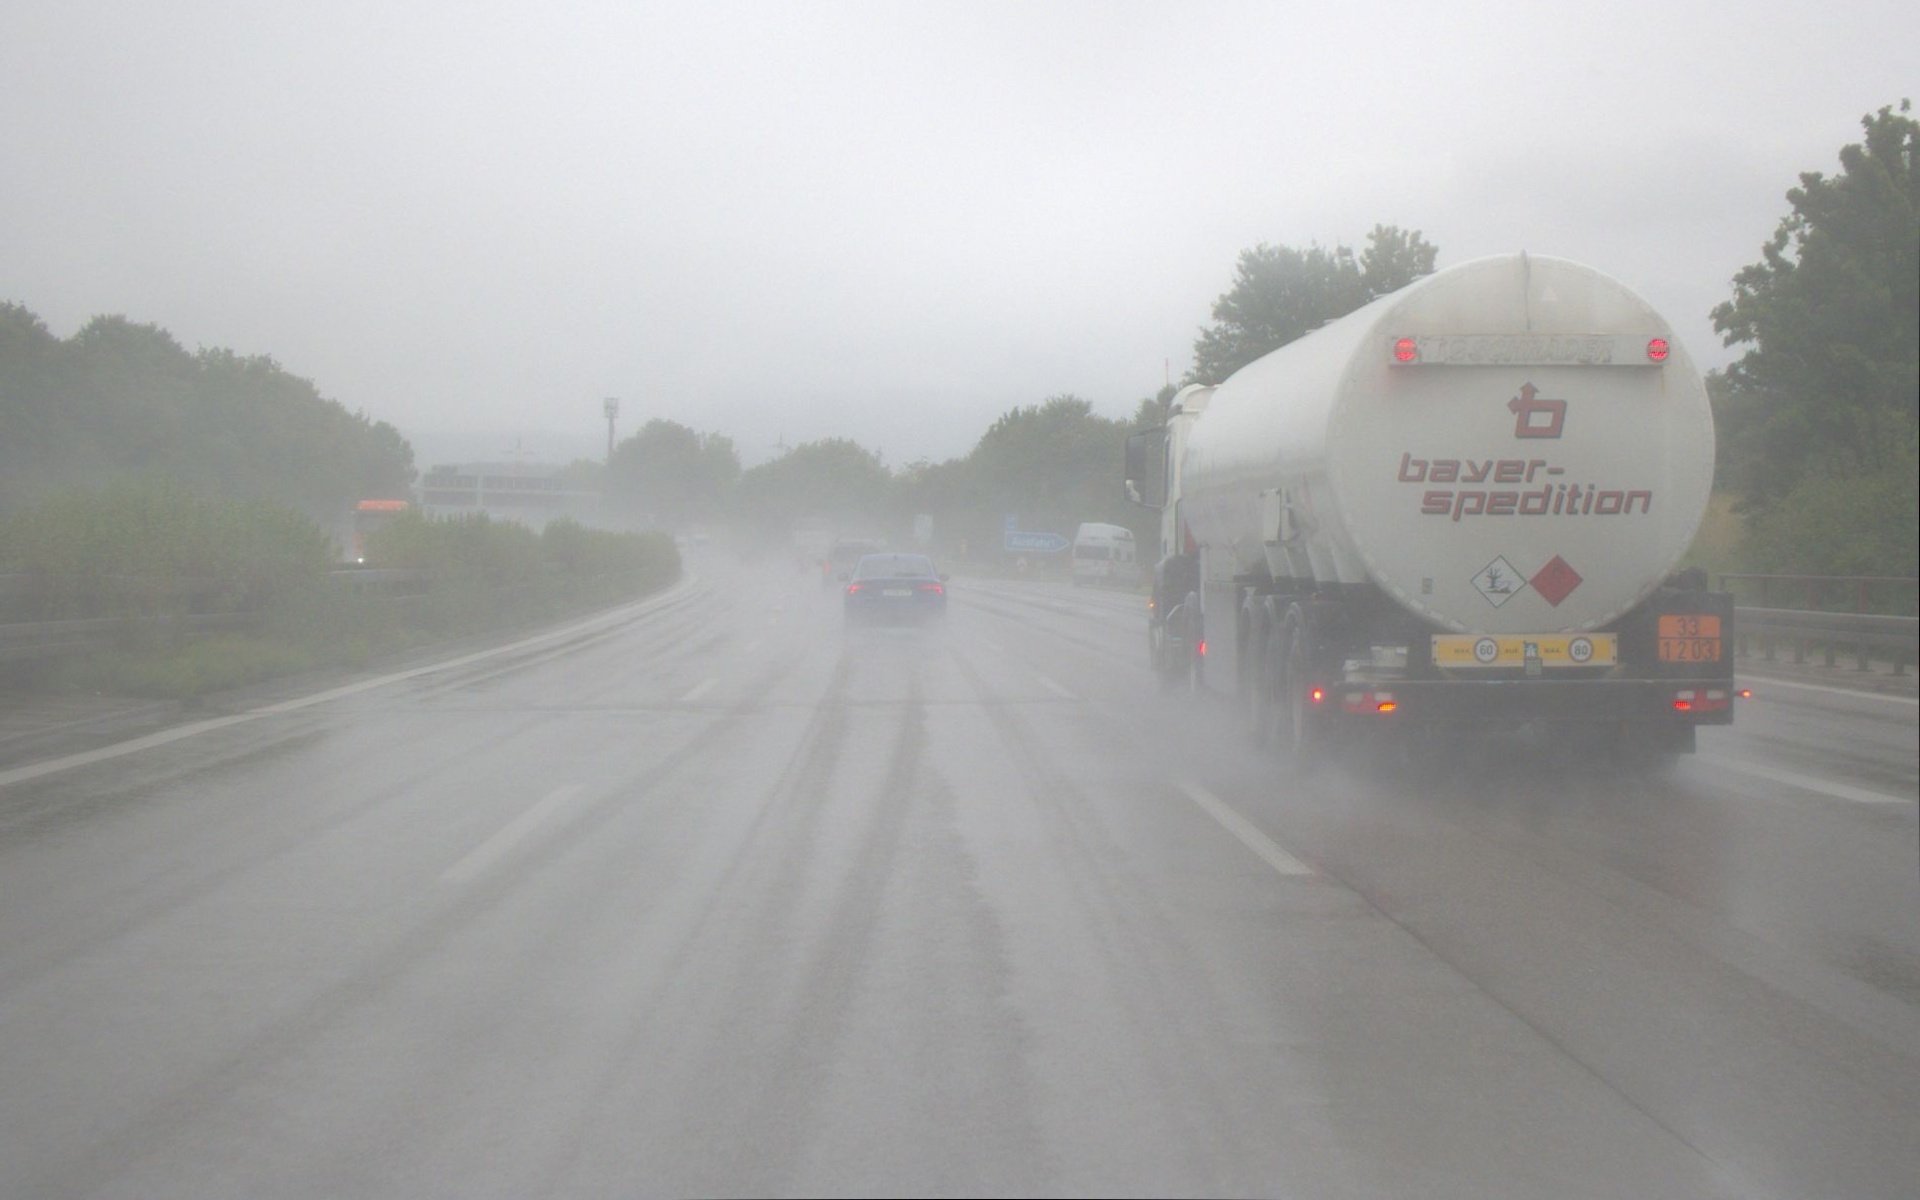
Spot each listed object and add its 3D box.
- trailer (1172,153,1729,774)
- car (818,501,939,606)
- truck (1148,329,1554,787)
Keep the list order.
[{"bbox_3d":[3.298,-0.919,25.587,3.004,3.834,8.624,0,1,1],"label":"trailer"},{"bbox_3d":[-1.459,-0.851,60.186,1.978,1.750,4.482,0,2,-3],"label":"car"},{"bbox_3d":[3.329,-0.383,30.912,2.943,3.671,6.362,0,1,0],"label":"truck"}]
